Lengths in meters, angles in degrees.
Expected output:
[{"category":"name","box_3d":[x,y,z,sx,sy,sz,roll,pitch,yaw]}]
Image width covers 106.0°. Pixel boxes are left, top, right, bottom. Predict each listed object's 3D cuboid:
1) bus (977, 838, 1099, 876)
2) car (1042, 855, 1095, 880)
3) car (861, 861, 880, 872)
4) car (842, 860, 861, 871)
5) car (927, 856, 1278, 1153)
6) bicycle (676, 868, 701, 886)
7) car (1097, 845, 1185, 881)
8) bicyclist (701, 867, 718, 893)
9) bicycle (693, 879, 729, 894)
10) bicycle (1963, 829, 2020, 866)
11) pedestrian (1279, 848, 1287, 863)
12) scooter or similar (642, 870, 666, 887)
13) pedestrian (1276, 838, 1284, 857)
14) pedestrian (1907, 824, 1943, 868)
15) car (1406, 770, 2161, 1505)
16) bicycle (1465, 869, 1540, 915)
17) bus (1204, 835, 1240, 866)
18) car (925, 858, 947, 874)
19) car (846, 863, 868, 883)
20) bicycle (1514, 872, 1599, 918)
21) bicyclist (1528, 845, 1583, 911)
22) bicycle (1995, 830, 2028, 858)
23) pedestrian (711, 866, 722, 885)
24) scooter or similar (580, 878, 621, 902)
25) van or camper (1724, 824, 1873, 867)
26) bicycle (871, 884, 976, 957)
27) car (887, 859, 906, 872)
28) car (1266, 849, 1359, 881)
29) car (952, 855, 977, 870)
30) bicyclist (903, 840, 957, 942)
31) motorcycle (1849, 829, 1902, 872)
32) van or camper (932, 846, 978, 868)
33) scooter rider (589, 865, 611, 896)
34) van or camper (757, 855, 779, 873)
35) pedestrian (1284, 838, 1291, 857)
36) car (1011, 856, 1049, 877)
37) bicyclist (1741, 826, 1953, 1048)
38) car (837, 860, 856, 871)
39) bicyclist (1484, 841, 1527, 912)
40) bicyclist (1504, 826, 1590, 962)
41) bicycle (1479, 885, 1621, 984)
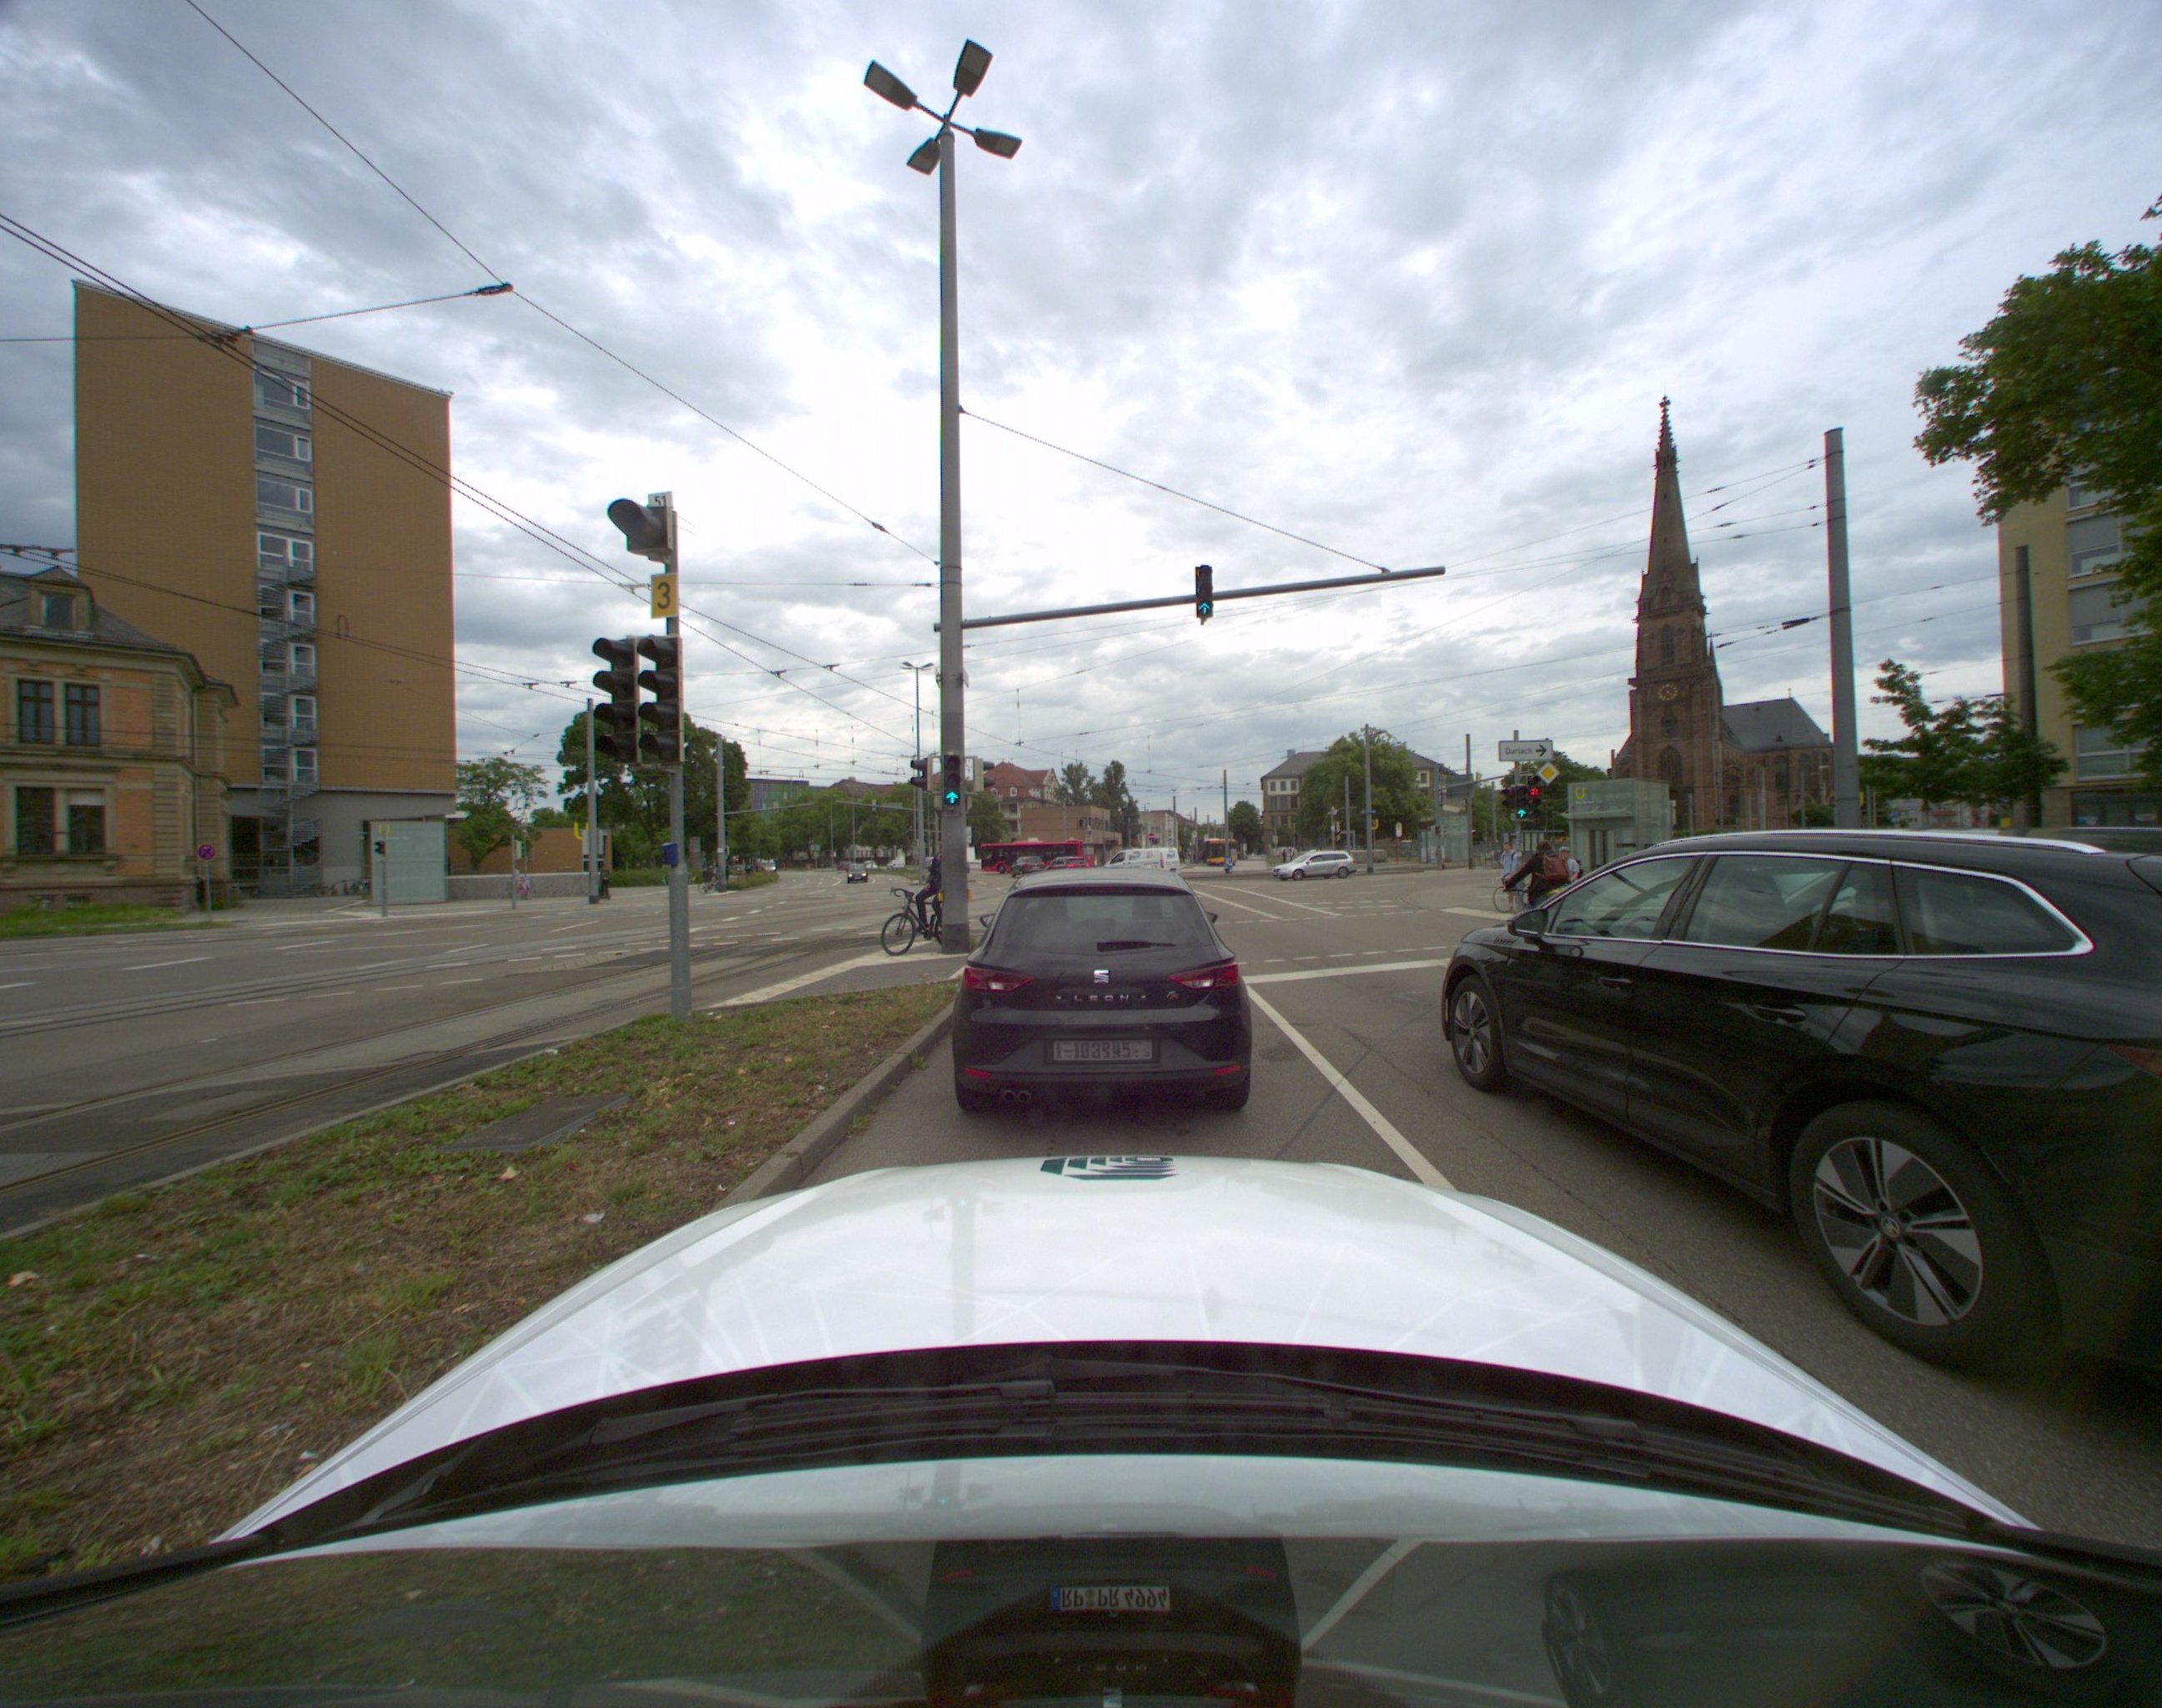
[{"category":"bus","box_3d":[-4.251,0.339,77.901,12.218,3.298,3.088,-2,-1,34]},{"category":"car","box_3d":[-0.895,0.891,54.928,1.869,1.600,4.166,-2,0,-29]},{"category":"car","box_3d":[-31.679,1.868,122.319,2.004,1.640,3.966,-1,0,-26]},{"category":"car","box_3d":[-40.550,2.026,143.940,2.008,1.750,3.958,-1,0,-34]},{"category":"car","box_3d":[0.170,0.757,6.083,1.739,1.464,4.002,-1,0,2]},{"category":"bicycle","box_3d":[-34.443,2.021,71.543,0.842,1.449,2.259,-2,0,7]},{"category":"car","box_3d":[3.491,0.556,48.023,4.967,2.019,2.012,-2,0,41]},{"category":"bicyclist","box_3d":[-24.955,1.729,54.759,0.815,1.656,0.789,-5,-2,-17]},{"category":"bicycle","box_3d":[-24.860,2.189,54.749,2.117,1.028,0.790,1,-3,-17]},{"category":"bicycle","box_3d":[36.113,-0.246,32.287,2.792,1.377,0.895,-2,0,-29]},{"category":"pedestrian","box_3d":[25.161,0.224,101.369,0.817,1.853,1.026,-2,0,18]},{"category":"scooter or similar","box_3d":[-36.084,2.052,68.834,1.781,1.302,0.624,-2,0,-30]},{"category":"pedestrian","box_3d":[44.521,-1.398,181.756,1.381,4.253,1.347,-2,0,2]},{"category":"pedestrian","box_3d":[34.088,-0.318,32.890,0.910,1.737,0.805,-2,0,-33]},{"category":"car","box_3d":[3.368,0.615,3.766,1.897,1.658,4.514,-2,0,0]},{"category":"bicycle","box_3d":[10.727,0.950,20.702,1.996,0.998,0.575,-3,0,-26]},{"category":"bus","box_3d":[16.374,-0.377,93.787,2.994,3.268,13.093,-2,0,14]},{"category":"car","box_3d":[-18.497,1.507,103.670,2.000,2.013,3.973,-1,0,-20]},{"category":"car","box_3d":[-18.271,1.516,66.321,1.622,1.515,3.644,-3,0,-17]},{"category":"bicycle","box_3d":[11.250,0.954,19.272,1.946,0.998,0.598,-1,0,-19]},{"category":"bicyclist","box_3d":[11.215,0.557,19.260,0.886,1.522,0.668,-1,0,-19]},{"category":"bicycle","box_3d":[40.825,-0.456,35.727,2.048,1.169,0.663,-2,0,-34]},{"category":"pedestrian","box_3d":[-34.587,1.998,77.206,0.747,1.733,0.683,-2,0,-13]},{"category":"scooter or similar","box_3d":[-26.053,1.942,44.202,0.567,1.165,1.917,-2,0,23]},{"category":"van or camper","box_3d":[37.414,-0.418,42.662,5.402,1.978,2.183,-2,0,20]},{"category":"bicycle","box_3d":[-2.581,1.064,13.434,1.622,1.070,0.522,-2,-1,-38]},{"category":"car","box_3d":[-27.457,1.701,121.125,2.004,1.750,3.966,-1,0,-25]},{"category":"car","box_3d":[12.604,0.581,44.347,4.621,1.482,1.717,-3,0,-15]},{"category":"car","box_3d":[-13.129,0.951,91.514,2.000,1.539,3.973,-1,0,-20]},{"category":"bicyclist","box_3d":[-2.505,0.593,13.511,0.658,1.639,0.512,-2,-1,-38]},{"category":"motorcycle","box_3d":[27.107,-0.114,27.776,2.304,1.366,1.035,-3,0,-40]},{"category":"van or camper","box_3d":[-21.463,0.475,139.055,7.193,3.332,2.841,-2,-1,-43]},{"category":"scooter rider","box_3d":[-26.092,1.434,44.169,0.562,1.627,0.826,-2,0,23]},{"category":"van or camper","box_3d":[-47.720,1.581,124.035,2.293,2.527,5.521,-3,0,-29]},{"category":"pedestrian","box_3d":[46.082,-1.439,181.748,1.302,4.253,1.347,-2,0,2]},{"category":"car","box_3d":[-4.173,1.020,65.602,1.999,1.566,4.178,-2,0,-19]},{"category":"bicyclist","box_3d":[5.976,0.603,6.419,0.786,1.618,0.933,0,0,0]},{"category":"car","box_3d":[-38.925,1.847,135.054,2.007,1.772,3.959,-1,0,-32]},{"category":"bicyclist","box_3d":[10.835,0.565,20.780,0.736,1.751,0.581,-3,0,-25]},{"category":"bicyclist","box_3d":[6.045,0.493,10.600,0.613,1.690,0.806,-2,0,-1]},{"category":"bicycle","box_3d":[6.059,0.994,10.681,0.623,1.055,2.125,-2,0,0]}]
